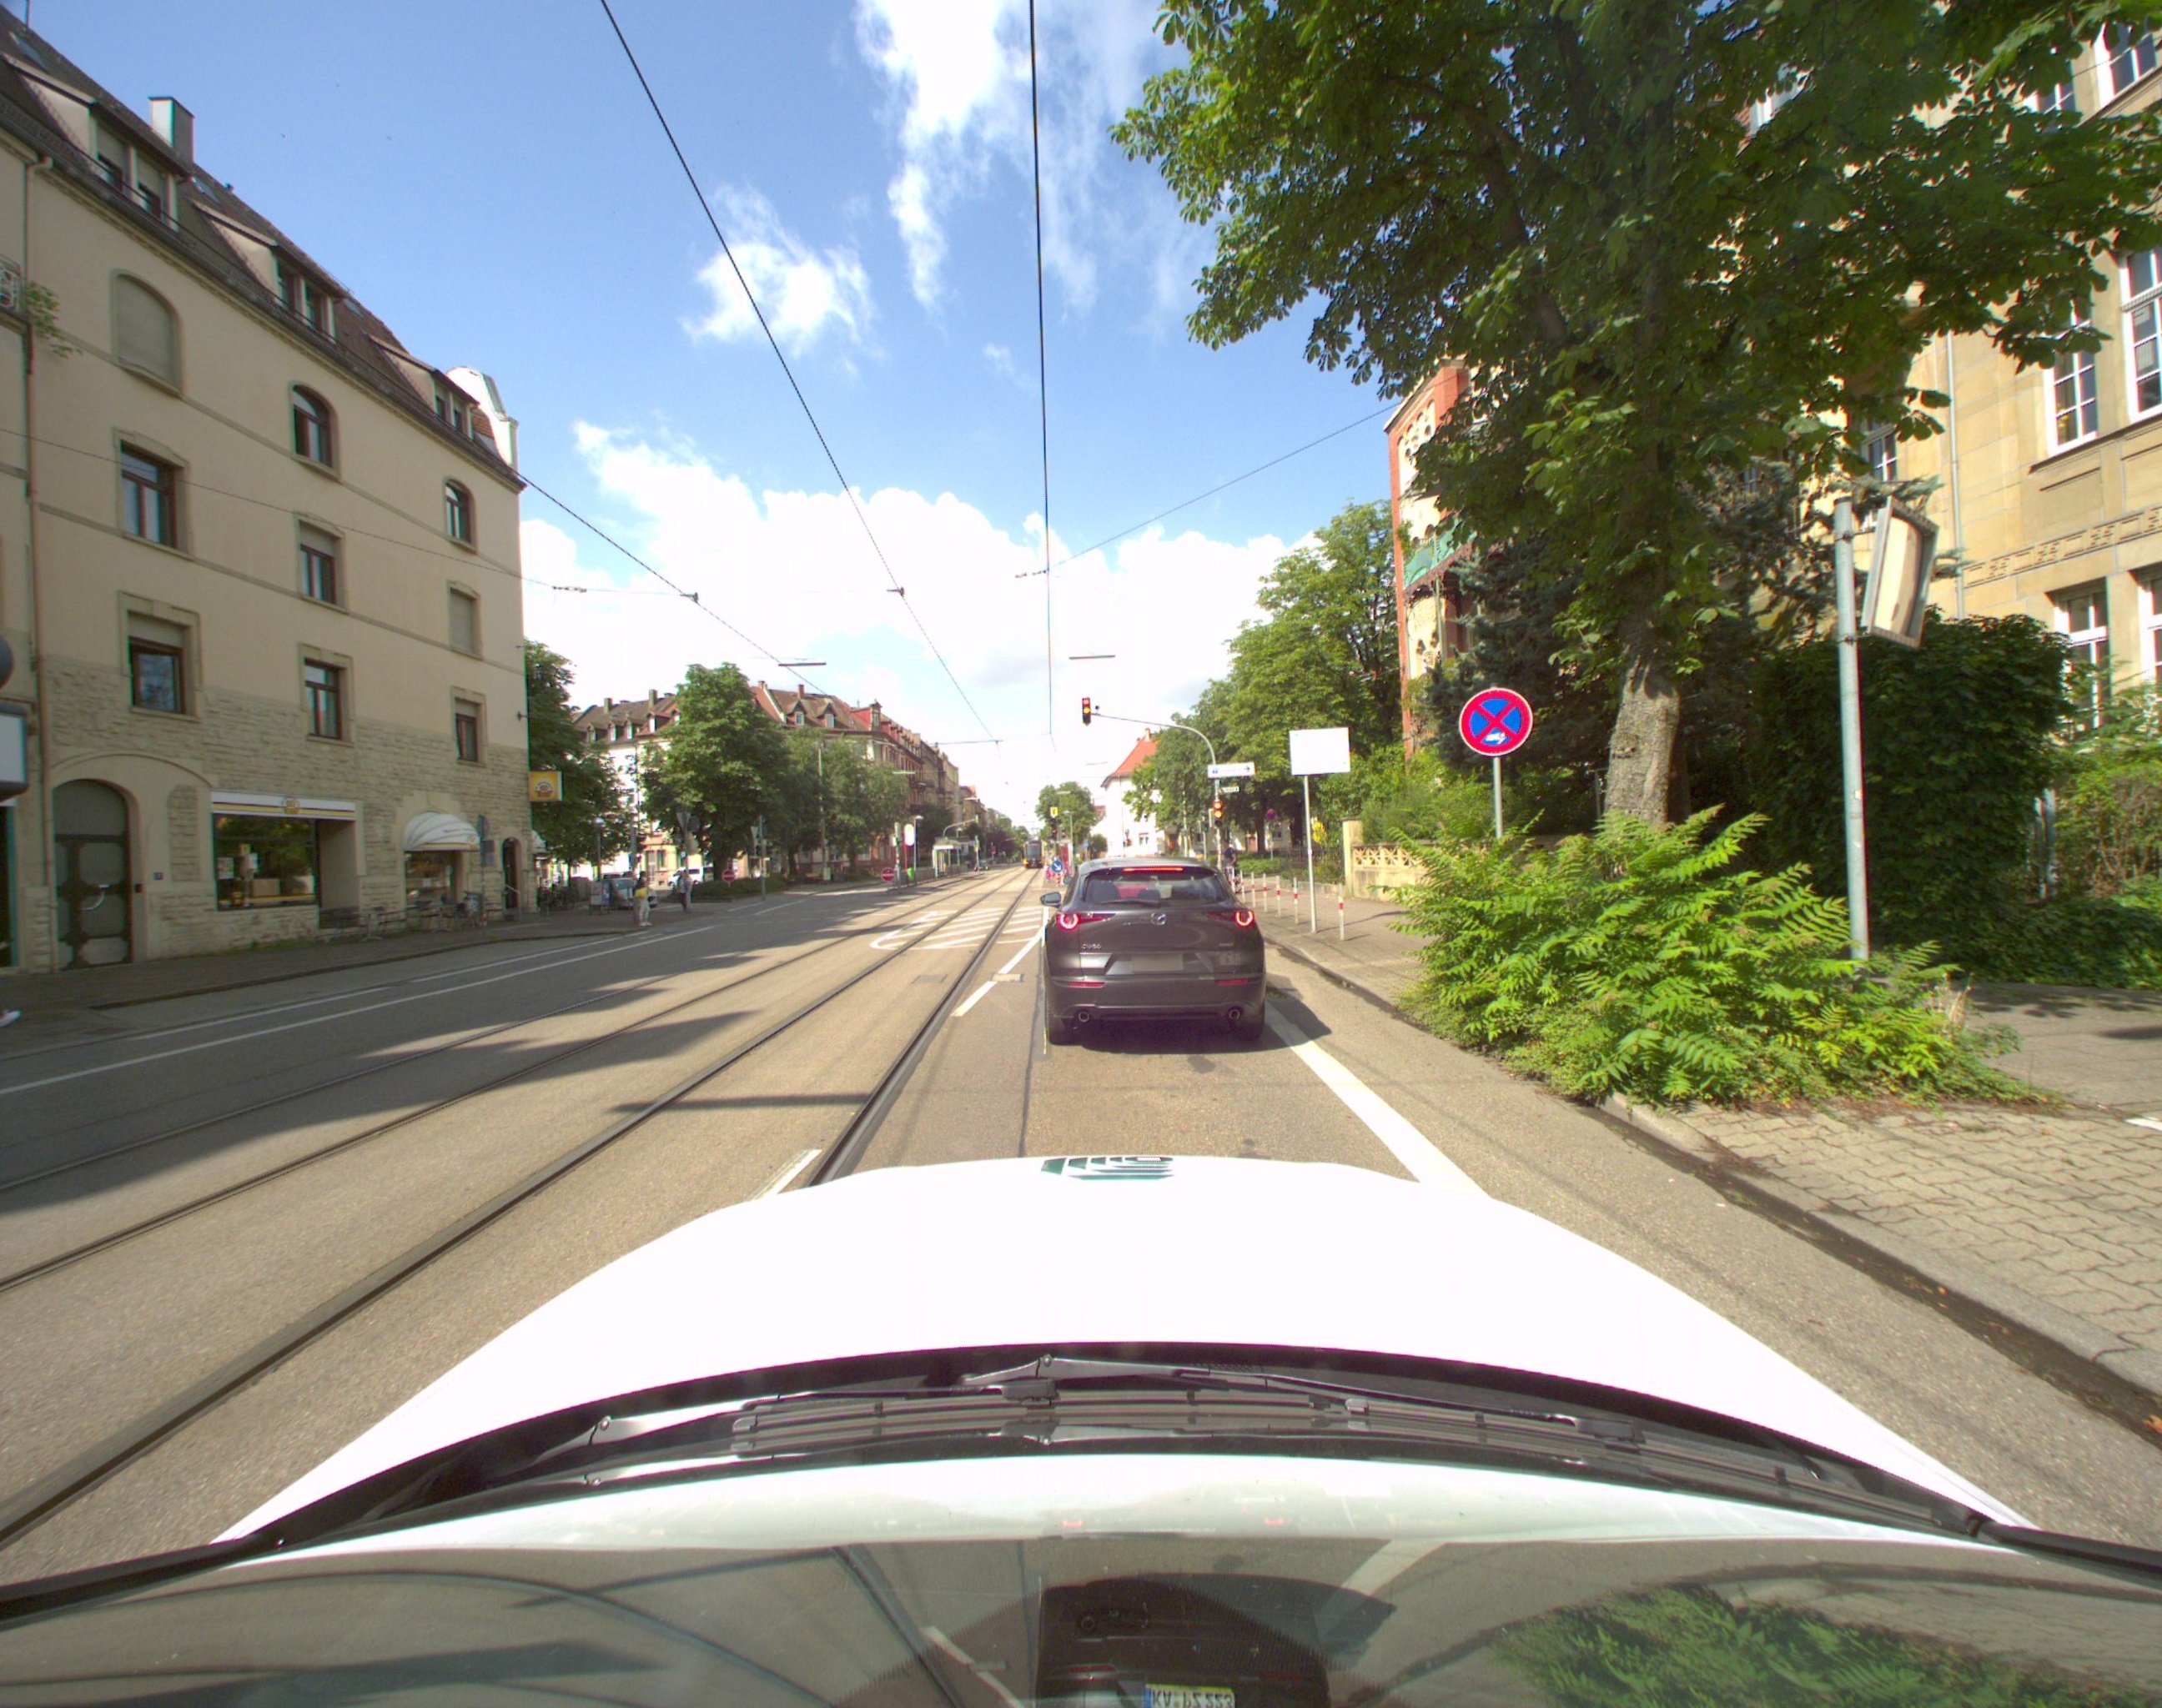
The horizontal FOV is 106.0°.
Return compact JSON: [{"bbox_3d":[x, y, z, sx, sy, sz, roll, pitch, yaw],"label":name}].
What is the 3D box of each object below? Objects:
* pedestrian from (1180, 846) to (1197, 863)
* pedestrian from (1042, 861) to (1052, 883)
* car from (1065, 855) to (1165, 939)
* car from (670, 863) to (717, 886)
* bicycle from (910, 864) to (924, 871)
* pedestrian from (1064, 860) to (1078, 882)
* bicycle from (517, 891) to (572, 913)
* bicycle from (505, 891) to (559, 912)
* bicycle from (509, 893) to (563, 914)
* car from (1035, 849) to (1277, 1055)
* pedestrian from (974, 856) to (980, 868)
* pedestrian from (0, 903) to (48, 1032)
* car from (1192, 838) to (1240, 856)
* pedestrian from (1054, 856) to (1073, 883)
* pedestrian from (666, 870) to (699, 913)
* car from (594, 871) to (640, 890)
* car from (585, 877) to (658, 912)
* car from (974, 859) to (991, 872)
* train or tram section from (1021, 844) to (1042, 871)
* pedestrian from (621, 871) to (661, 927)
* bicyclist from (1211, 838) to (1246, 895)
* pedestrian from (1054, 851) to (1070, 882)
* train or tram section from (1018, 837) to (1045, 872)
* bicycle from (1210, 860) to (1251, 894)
[{"bbox_3d":[8.687,0.057,65.764,1.191,1.269,0.556,-5,0,-7],"label":"pedestrian"},{"bbox_3d":[-1.761,0.938,42.691,0.421,1.108,0.438,-5,0,-4],"label":"pedestrian"},{"bbox_3d":[0.589,0.773,16.528,1.770,1.464,3.840,-1,0,-1],"label":"car"},{"bbox_3d":[-37.232,1.946,78.300,3.901,1.988,1.866,-2,0,21],"label":"car"},{"bbox_3d":[-19.100,1.601,94.908,0.381,0.747,1.722,-3,0,34],"label":"bicycle"},{"bbox_3d":[-0.517,0.884,43.042,0.438,1.114,0.646,-3,0,23],"label":"pedestrian"},{"bbox_3d":[-24.363,2.190,37.013,0.516,0.882,2.043,-3,-2,44],"label":"bicycle"},{"bbox_3d":[-26.154,2.253,38.834,0.505,0.882,2.043,-3,-2,44],"label":"bicycle"},{"bbox_3d":[-25.351,2.302,37.905,0.505,0.882,2.043,-3,-2,44],"label":"bicycle"},{"bbox_3d":[0.629,0.740,8.022,1.775,1.514,4.002,0,0,2],"label":"car"},{"bbox_3d":[-15.778,1.202,123.377,0.785,1.688,0.732,-3,0,-1],"label":"pedestrian"},{"bbox_3d":[-13.563,1.396,9.979,0.696,1.541,0.956,2,0,-23],"label":"pedestrian"},{"bbox_3d":[13.065,-0.704,78.648,4.118,1.509,1.864,-3,1,40],"label":"car"},{"bbox_3d":[-0.911,0.805,41.624,0.822,1.303,0.718,-5,0,2],"label":"pedestrian"},{"bbox_3d":[-15.975,1.487,32.691,0.852,1.672,0.822,-3,0,-1],"label":"pedestrian"},{"bbox_3d":[-46.493,2.641,81.623,3.895,1.663,1.926,-3,0,20],"label":"car"},{"bbox_3d":[-21.237,1.865,37.605,3.823,1.420,1.732,-3,0,41],"label":"car"},{"bbox_3d":[-12.014,1.404,99.800,1.620,1.387,3.435,-4,0,0],"label":"car"},{"bbox_3d":[-7.898,0.709,131.042,2.991,3.983,13.789,-3,-1,-4],"label":"train or tram section"},{"bbox_3d":[-13.780,1.400,25.534,0.754,1.704,0.873,2,0,-3],"label":"pedestrian"},{"bbox_3d":[4.871,0.405,26.875,0.736,1.819,0.814,-3,0,-25],"label":"bicyclist"},{"bbox_3d":[-1.000,0.655,42.464,0.727,1.565,0.797,-3,0,-7],"label":"pedestrian"},{"bbox_3d":[-6.302,0.188,103.595,2.991,3.983,13.789,-3,-1,-4],"label":"train or tram section"},{"bbox_3d":[4.963,0.750,26.962,0.385,1.035,1.857,-3,0,42],"label":"bicycle"}]
